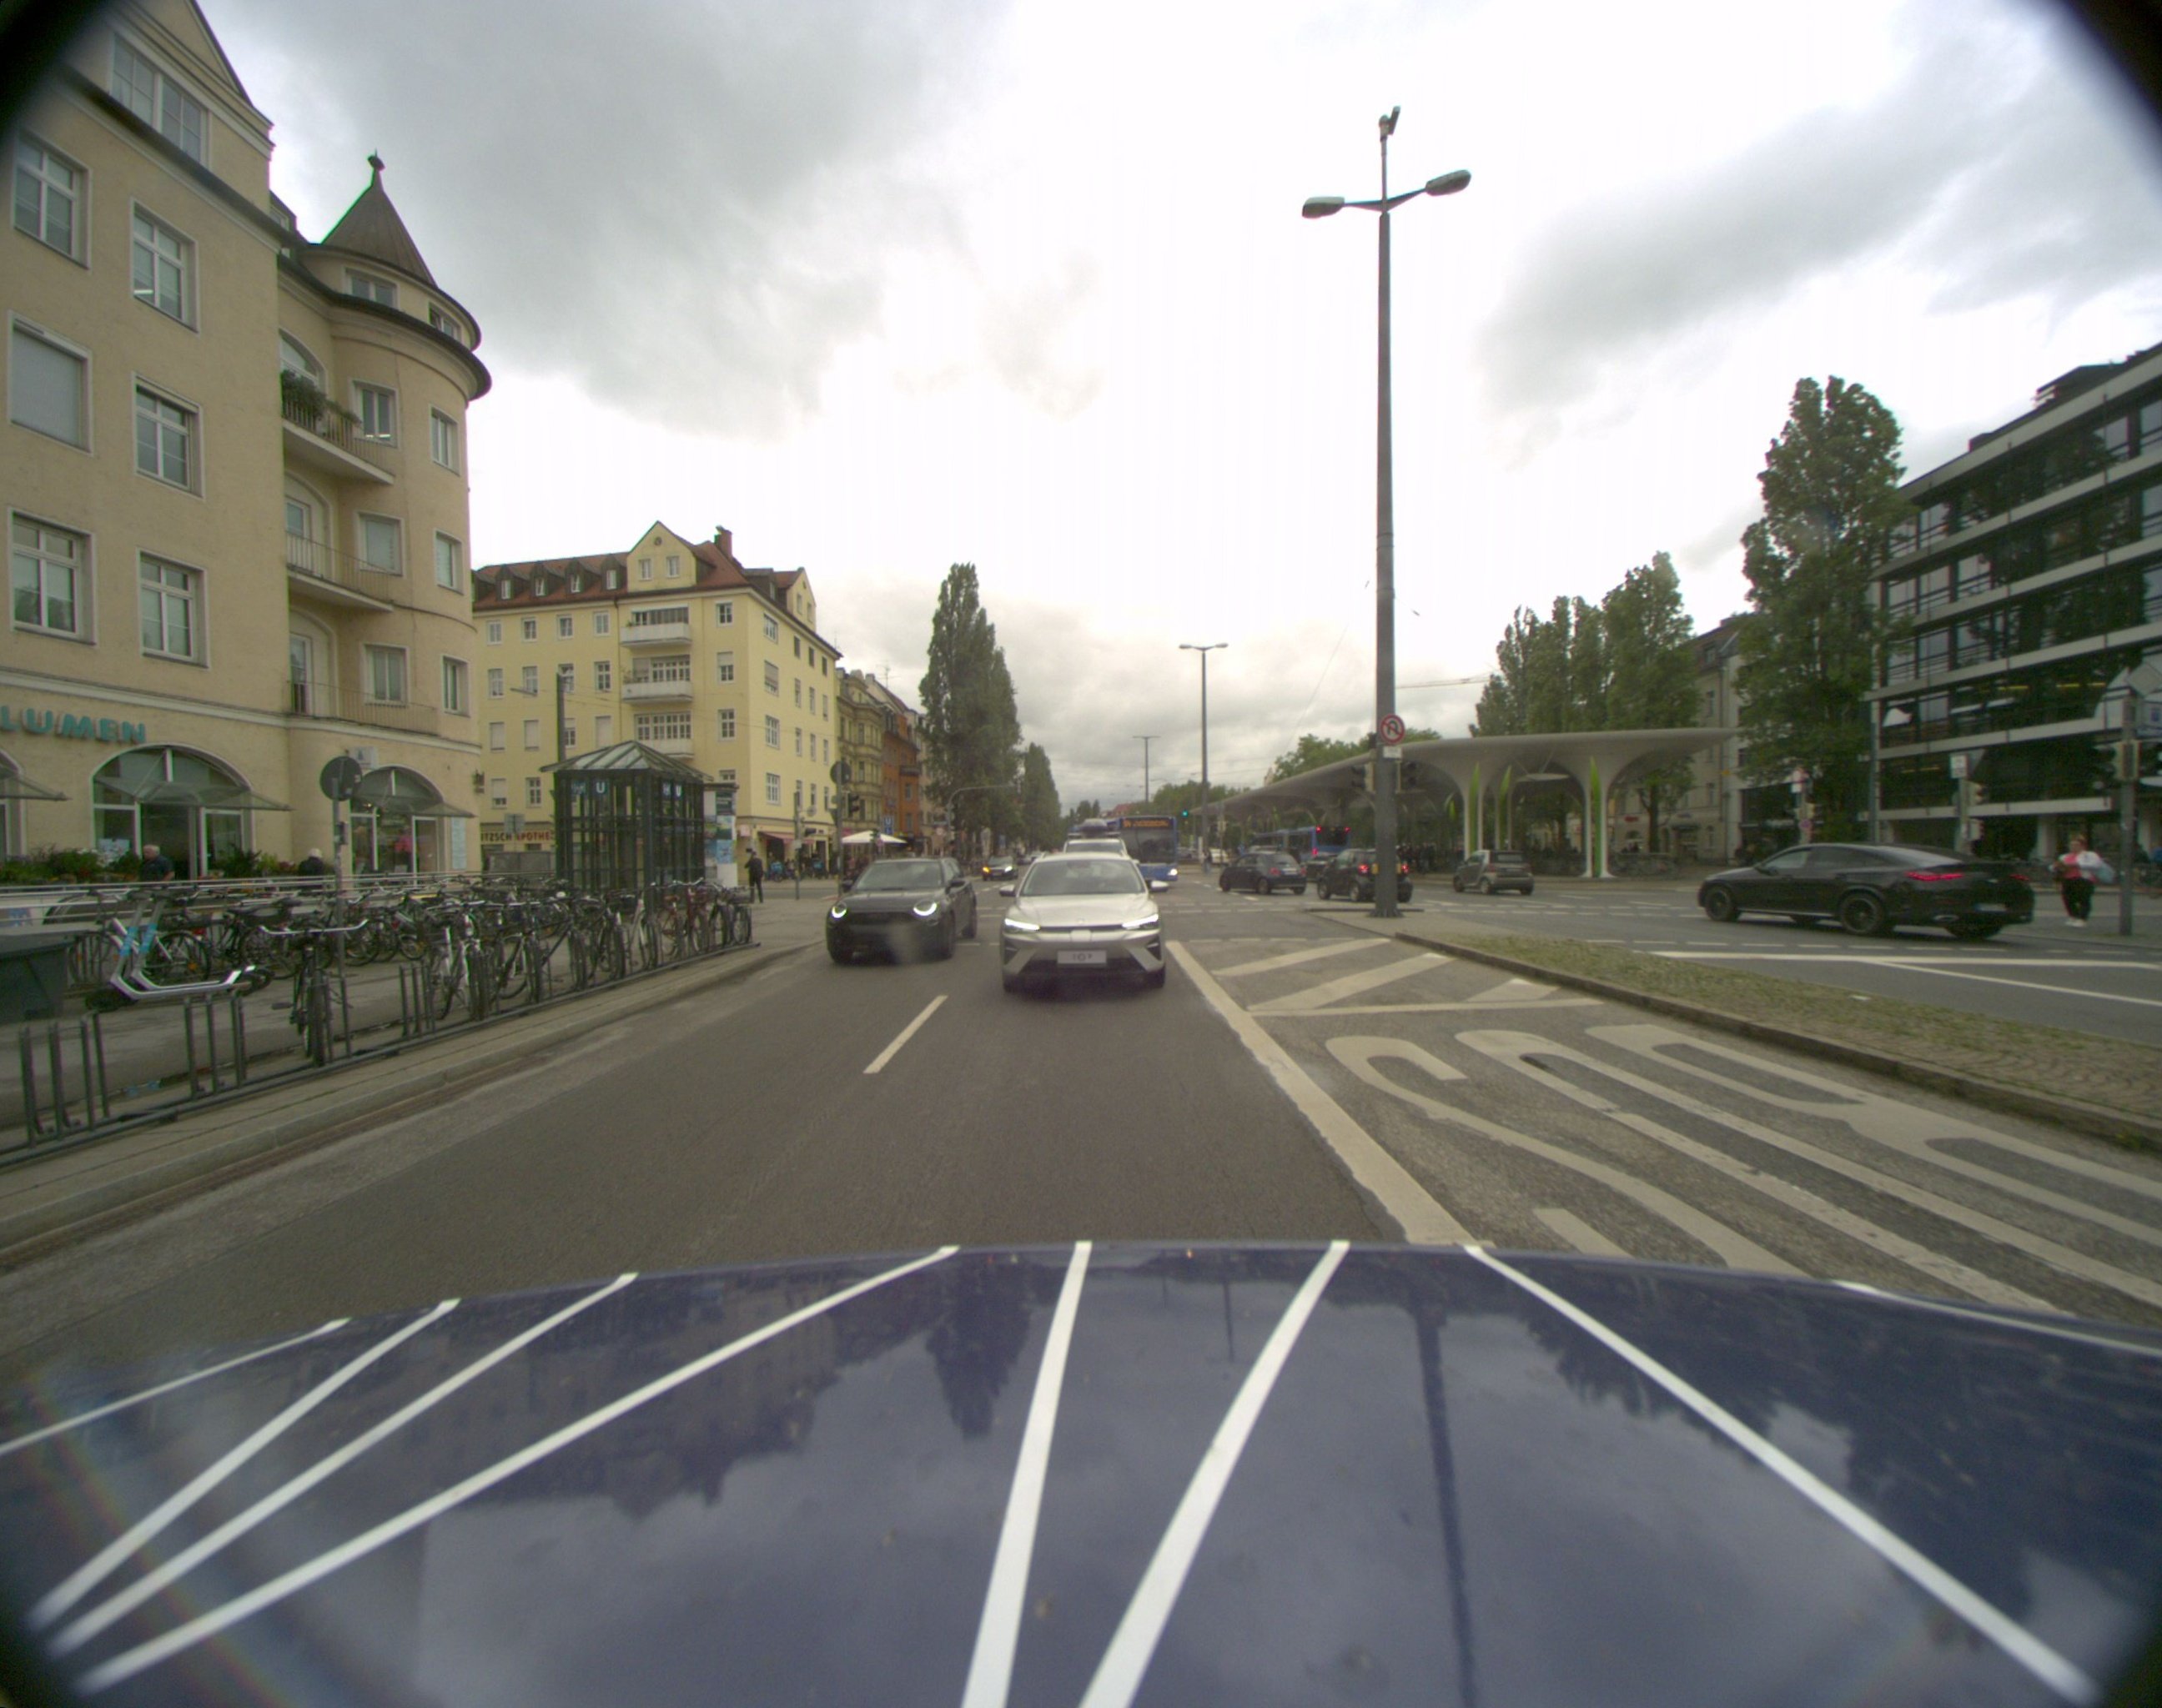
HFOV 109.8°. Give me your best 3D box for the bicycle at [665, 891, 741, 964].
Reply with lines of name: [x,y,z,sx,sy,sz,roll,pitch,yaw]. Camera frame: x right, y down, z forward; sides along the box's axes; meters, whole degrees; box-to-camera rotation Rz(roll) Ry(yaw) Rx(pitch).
bicycle: [-5.978,1.155,11.974,1.848,1.053,0.398,-5,-1,44]

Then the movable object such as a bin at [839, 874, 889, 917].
movable object such as a bin: [-5.700,1.085,20.008,1.089,1.056,0.747,1,2,-2]

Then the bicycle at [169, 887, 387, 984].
bicycle: [-10.660,1.073,10.121,2.317,1.220,0.628,-1,1,3]

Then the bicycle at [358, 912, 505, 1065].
bicycle: [-5.908,1.141,6.880,1.791,1.131,0.591,-1,1,37]

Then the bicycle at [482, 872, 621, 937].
bicycle: [-10.371,0.985,14.914,2.317,1.220,0.628,-1,1,3]

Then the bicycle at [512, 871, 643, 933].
bicycle: [-10.340,0.970,15.631,2.317,1.220,0.628,-1,1,3]

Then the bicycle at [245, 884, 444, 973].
bicycle: [-10.688,1.067,11.058,2.342,1.220,0.628,-1,1,3]

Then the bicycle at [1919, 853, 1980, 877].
bicycle: [41.574,0.542,36.395,2.073,1.127,0.561,-1,1,6]

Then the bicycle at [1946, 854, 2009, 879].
bicycle: [41.473,0.570,35.165,2.073,1.127,0.561,-1,1,6]

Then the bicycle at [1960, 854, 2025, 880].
bicycle: [41.425,0.584,34.562,2.073,1.127,0.561,-1,1,6]

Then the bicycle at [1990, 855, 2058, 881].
bicycle: [41.309,0.613,33.312,2.073,1.127,0.561,-1,1,6]

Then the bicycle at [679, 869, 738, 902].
bicycle: [-12.862,1.071,26.243,1.822,1.121,0.610,0,0,13]

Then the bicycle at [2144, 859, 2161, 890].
bicycle: [40.638,0.746,27.930,2.073,1.127,0.561,-1,1,6]

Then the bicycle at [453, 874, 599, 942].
bicycle: [-10.385,0.999,14.250,2.317,1.220,0.628,-1,1,3]

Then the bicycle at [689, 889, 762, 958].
bicycle: [-5.948,1.161,12.660,1.848,1.053,0.398,-5,-1,44]

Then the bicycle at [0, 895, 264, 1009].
bicycle: [-10.876,1.109,8.731,2.367,1.220,0.628,-1,1,3]

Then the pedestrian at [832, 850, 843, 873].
pedestrian: [-17.897,0.567,55.813,0.552,1.675,0.585,-1,1,2]

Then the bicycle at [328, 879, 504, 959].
bicycle: [-10.635,1.032,12.186,2.330,1.220,0.628,-1,1,3]

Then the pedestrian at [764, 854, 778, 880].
pedestrian: [-18.570,0.759,45.553,0.528,1.517,0.585,-1,1,2]

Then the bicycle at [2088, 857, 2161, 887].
bicycle: [40.755,0.708,29.597,2.073,1.127,0.561,-1,1,6]

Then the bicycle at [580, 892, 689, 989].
bicycle: [-5.819,1.078,9.862,1.780,1.131,0.479,-1,1,35]

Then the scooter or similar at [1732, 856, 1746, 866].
scooter or similar: [47.788,0.512,55.193,0.519,0.711,0.681,0,1,12]

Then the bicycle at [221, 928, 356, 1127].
bicycle: [-5.788,1.164,5.520,1.790,1.131,0.490,-1,1,39]

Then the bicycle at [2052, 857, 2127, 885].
bicycle: [40.871,0.680,30.811,2.073,1.127,0.561,-1,1,6]

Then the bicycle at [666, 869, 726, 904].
bicycle: [-12.964,1.087,25.596,1.822,1.121,0.610,0,0,13]

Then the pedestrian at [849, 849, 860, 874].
pedestrian: [-15.610,0.527,52.320,0.552,1.675,0.585,-1,1,2]

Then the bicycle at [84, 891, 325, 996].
bicycle: [-10.816,1.093,9.409,2.342,1.220,0.628,-1,1,3]

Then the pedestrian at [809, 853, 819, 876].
pedestrian: [-17.997,0.715,51.237,0.528,1.517,0.585,-1,1,-7]

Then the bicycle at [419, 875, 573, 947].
bicycle: [-10.452,1.014,13.618,2.317,1.220,0.628,-1,1,3]

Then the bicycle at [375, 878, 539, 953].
bicycle: [-10.598,1.033,12.941,2.317,1.220,0.628,-1,1,3]

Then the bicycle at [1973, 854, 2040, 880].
bicycle: [41.373,0.598,33.979,2.073,1.127,0.561,-1,1,6]

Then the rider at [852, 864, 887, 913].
rider: [-5.563,0.903,20.021,0.732,1.234,0.732,1,2,-2]

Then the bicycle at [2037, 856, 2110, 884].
bicycle: [40.996,0.663,31.405,2.073,1.127,0.561,-1,1,6]

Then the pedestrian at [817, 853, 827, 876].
pedestrian: [-17.479,0.693,51.312,0.528,1.517,0.585,-1,1,-7]

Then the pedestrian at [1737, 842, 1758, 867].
pedestrian: [47.713,0.038,54.417,0.800,1.714,0.827,0,1,12]

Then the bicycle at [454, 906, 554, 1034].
bicycle: [-5.840,1.123,7.661,1.521,1.131,0.349,-1,1,37]

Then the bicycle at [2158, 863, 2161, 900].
bicycle: [29.436,0.748,19.630,0.510,0.992,1.925,-1,1,2]

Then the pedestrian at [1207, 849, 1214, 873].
pedestrian: [7.649,0.389,44.938,0.357,1.411,0.380,-1,1,1]

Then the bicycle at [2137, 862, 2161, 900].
bicycle: [28.873,0.711,19.724,0.510,0.992,1.751,-1,1,2]

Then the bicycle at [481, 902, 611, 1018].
bicycle: [-5.868,1.111,8.309,1.674,1.131,0.479,-1,1,31]

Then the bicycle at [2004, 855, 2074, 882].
bicycle: [41.225,0.629,32.701,2.073,1.127,0.561,-1,1,6]

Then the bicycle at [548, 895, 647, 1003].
bicycle: [-5.825,1.093,9.117,1.673,1.131,0.479,-1,1,40]

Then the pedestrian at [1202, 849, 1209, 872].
pedestrian: [7.417,0.390,45.307,0.357,1.411,0.380,-1,1,1]

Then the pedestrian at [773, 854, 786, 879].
pedestrian: [-18.063,0.739,45.558,0.528,1.517,0.585,-1,1,2]

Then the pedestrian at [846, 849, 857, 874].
pedestrian: [-16.066,0.526,53.112,0.552,1.675,0.585,-1,1,2]

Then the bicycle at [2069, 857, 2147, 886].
bicycle: [40.814,0.694,30.210,2.073,1.127,0.561,-1,1,6]

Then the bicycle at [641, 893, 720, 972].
bicycle: [-5.936,1.142,11.204,1.848,1.053,0.398,-5,-1,44]
